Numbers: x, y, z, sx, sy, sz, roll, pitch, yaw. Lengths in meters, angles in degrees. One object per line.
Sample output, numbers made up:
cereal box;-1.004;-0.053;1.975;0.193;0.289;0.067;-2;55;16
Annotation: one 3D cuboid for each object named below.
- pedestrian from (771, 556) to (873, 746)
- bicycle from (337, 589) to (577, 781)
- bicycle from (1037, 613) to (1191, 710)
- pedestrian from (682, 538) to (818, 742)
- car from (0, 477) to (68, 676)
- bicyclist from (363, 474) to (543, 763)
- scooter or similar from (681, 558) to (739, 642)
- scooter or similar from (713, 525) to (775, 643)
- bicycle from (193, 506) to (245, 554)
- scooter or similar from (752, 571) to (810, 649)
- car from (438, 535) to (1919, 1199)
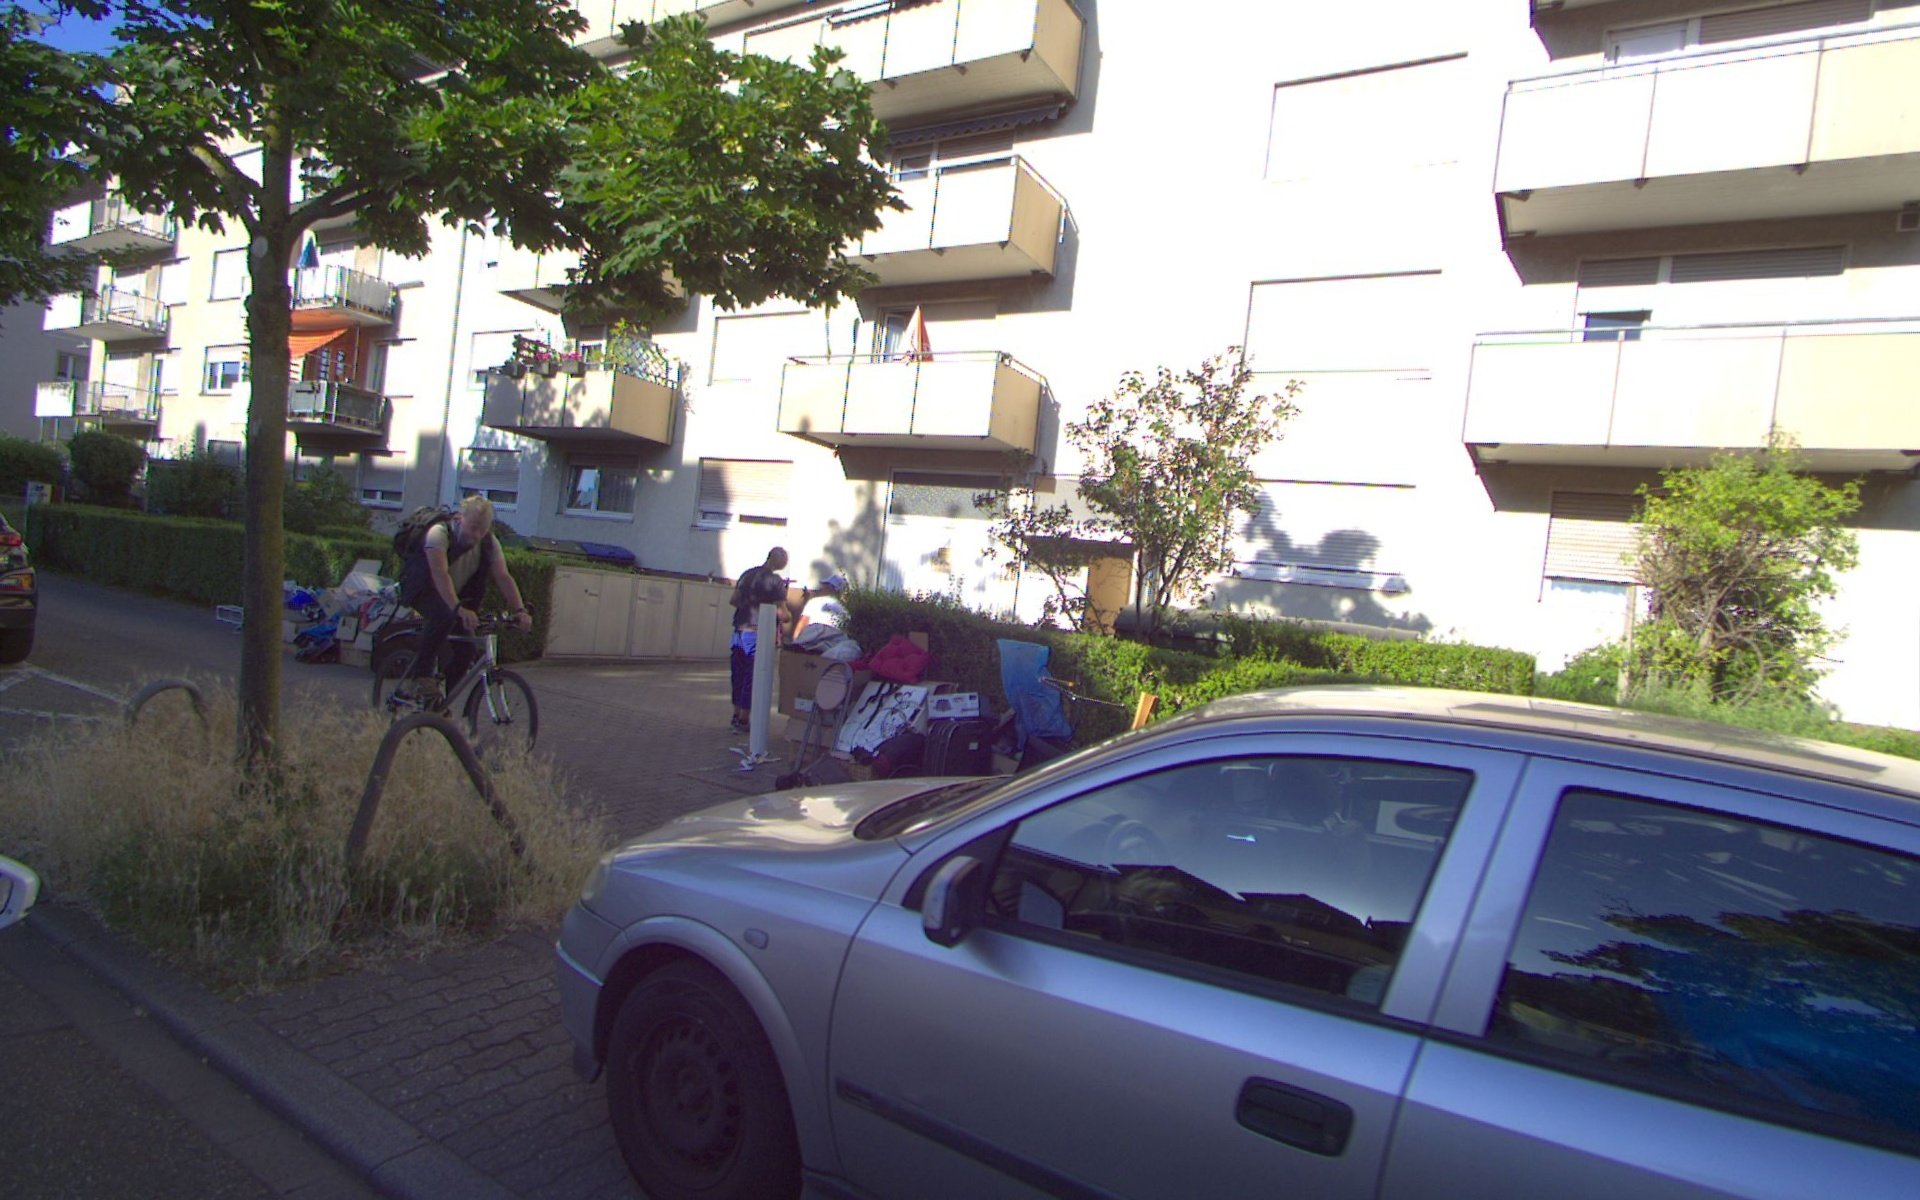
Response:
pedestrian;-1.221;0.429;8.831;0.585;1.560;0.692;6;1;-22
bicycle;-3.432;0.529;6.800;1.801;0.999;0.516;7;1;32
bicycle;2.174;0.878;14.052;2.180;1.154;0.514;7;1;-30
pedestrian;-1.847;0.345;8.863;0.745;1.660;0.694;7;1;29
car;-9.660;-0.394;8.658;3.946;1.602;1.856;7;2;31
bicyclist;-3.437;0.112;6.824;0.838;1.811;0.581;7;1;32
scooter or similar;-4.635;0.004;18.662;0.657;1.460;0.615;7;1;31
scooter or similar;-3.888;-0.281;18.116;0.657;2.039;0.615;7;1;31
bicycle;-21.080;-2.005;28.605;1.767;1.198;0.523;7;1;33
scooter or similar;-3.168;0.187;17.819;0.657;1.289;0.615;7;1;31
car;0.886;0.810;2.292;4.197;1.500;1.708;7;2;31
